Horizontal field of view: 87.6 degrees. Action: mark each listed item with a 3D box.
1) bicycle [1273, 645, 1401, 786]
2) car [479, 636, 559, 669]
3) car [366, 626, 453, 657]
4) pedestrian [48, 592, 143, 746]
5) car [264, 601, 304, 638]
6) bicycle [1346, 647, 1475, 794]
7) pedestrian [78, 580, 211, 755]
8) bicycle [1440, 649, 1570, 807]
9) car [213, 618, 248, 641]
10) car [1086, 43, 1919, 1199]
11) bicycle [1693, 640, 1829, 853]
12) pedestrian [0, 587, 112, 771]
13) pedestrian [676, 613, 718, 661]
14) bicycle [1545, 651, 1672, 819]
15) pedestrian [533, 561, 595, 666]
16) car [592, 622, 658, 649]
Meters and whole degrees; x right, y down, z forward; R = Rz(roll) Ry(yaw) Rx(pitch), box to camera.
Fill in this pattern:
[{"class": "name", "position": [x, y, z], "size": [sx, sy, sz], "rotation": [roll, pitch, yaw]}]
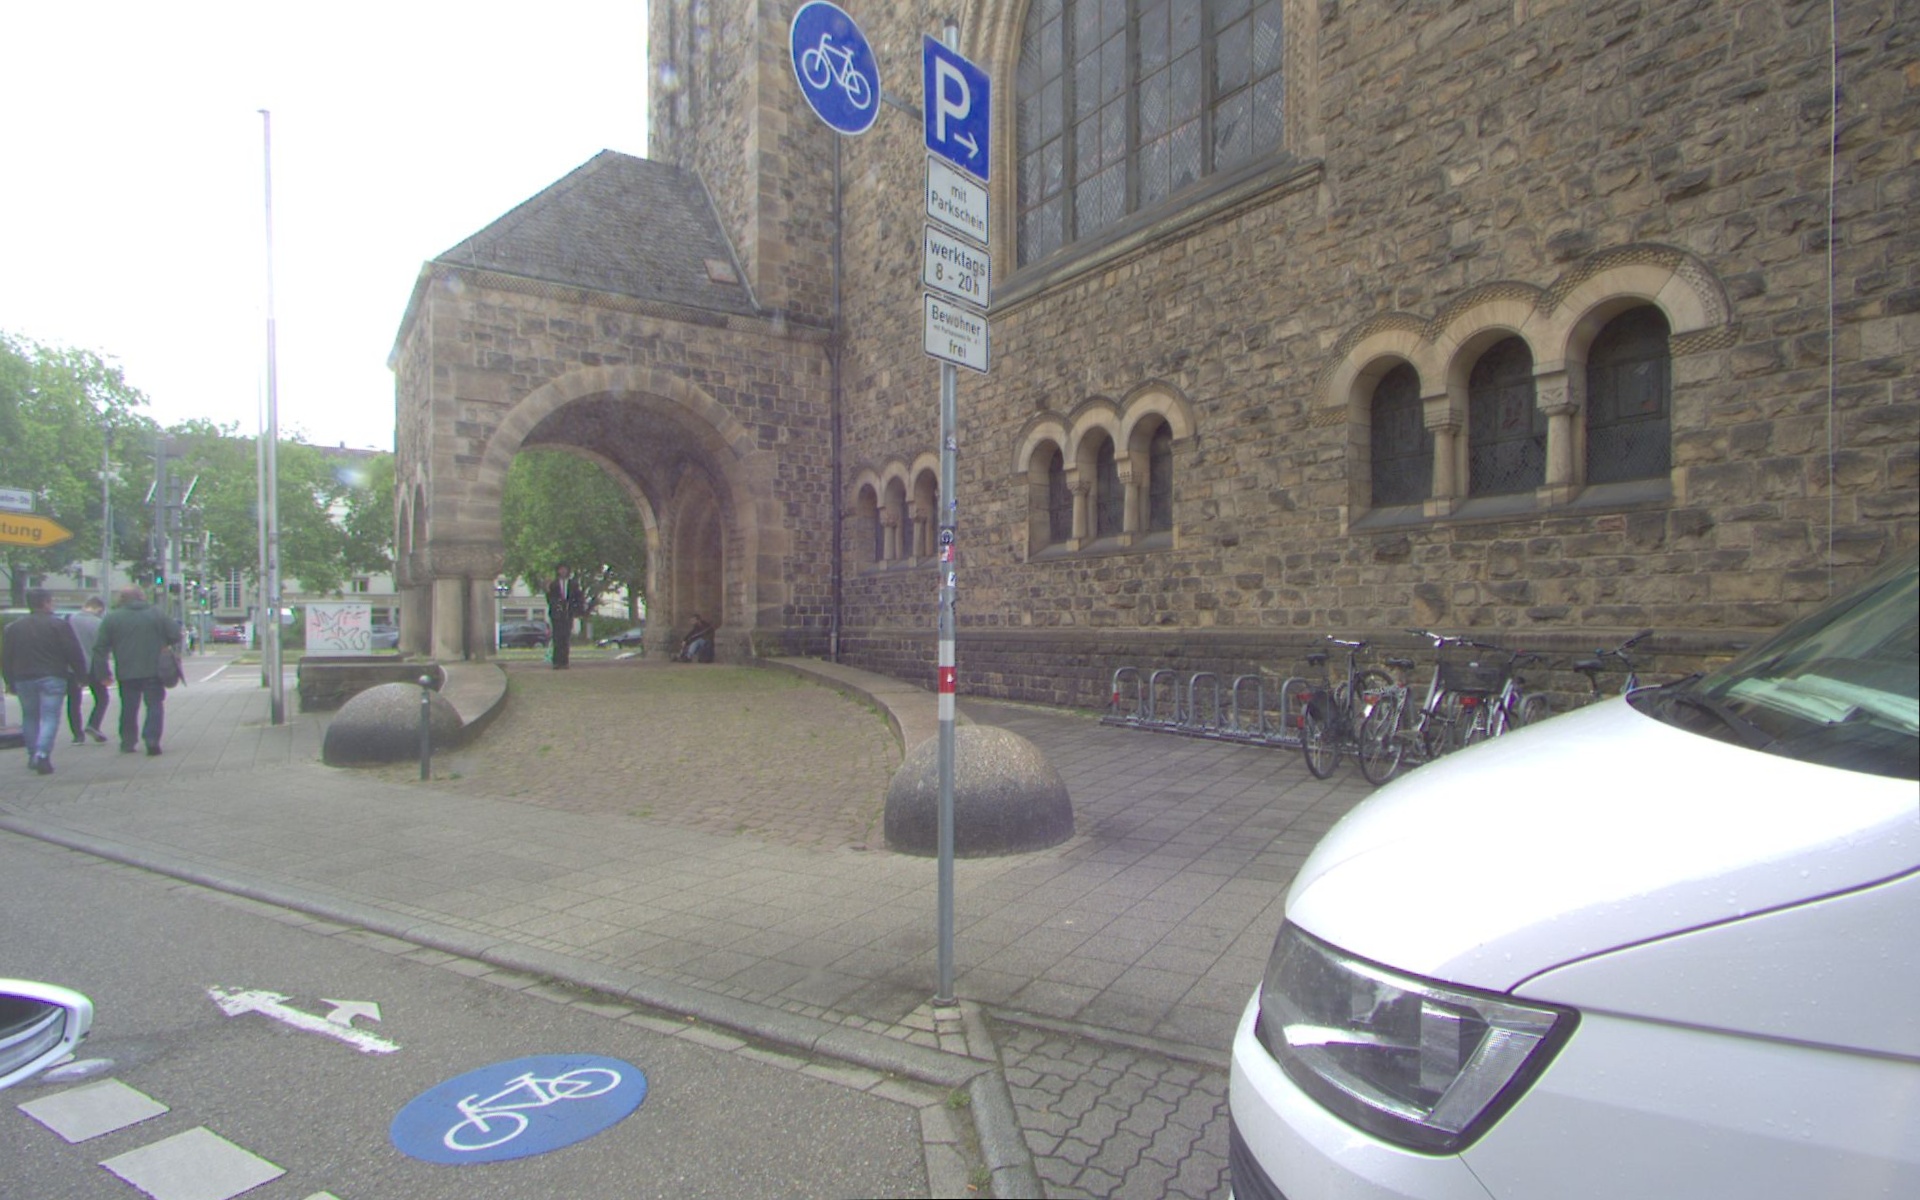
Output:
[{"class": "bicycle", "position": [3.172, 0.929, 8.367], "size": [1.366, 1.073, 0.309], "rotation": [1, -1, -36]}, {"class": "car", "position": [-24.924, 2.944, 56.592], "size": [3.899, 1.733, 1.676], "rotation": [1, -1, -35]}, {"class": "car", "position": [-29.246, 2.191, 53.249], "size": [3.939, 1.581, 1.676], "rotation": [1, -1, -35]}, {"class": "pedestrian", "position": [-10.043, 0.767, 11.631], "size": [0.957, 1.696, 0.630], "rotation": [0, 2, 39]}, {"class": "car", "position": [-50.570, 1.466, 75.017], "size": [2.211, 2.673, 5.417], "rotation": [1, -1, -31]}, {"class": "bicycle", "position": [3.610, 0.922, 7.986], "size": [1.366, 1.073, 0.309], "rotation": [1, -1, -36]}, {"class": "pedestrian", "position": [-8.782, 0.685, 10.792], "size": [0.955, 1.782, 0.802], "rotation": [0, 2, 32]}, {"class": "bicycle", "position": [4.084, 0.913, 7.472], "size": [1.366, 1.073, 0.309], "rotation": [1, -1, -36]}, {"class": "car", "position": [-51.404, 2.077, 70.583], "size": [1.647, 1.535, 3.916], "rotation": [1, -1, -31]}, {"class": "car", "position": [2.797, 0.468, 0.792], "size": [5.088, 1.945, 1.802], "rotation": [-1, -1, 31]}, {"class": "bicycle", "position": [4.862, 0.830, 6.055], "size": [1.327, 1.161, 0.309], "rotation": [1, -1, -36]}, {"class": "pedestrian", "position": [-8.945, 0.735, 9.812], "size": [0.955, 1.708, 0.673], "rotation": [0, 2, 32]}, {"class": "pedestrian", "position": [-5.403, 0.758, 20.592], "size": [0.665, 0.964, 0.611], "rotation": [0, -1, -36]}, {"class": "bicycle", "position": [4.601, 0.911, 7.077], "size": [1.327, 1.073, 0.309], "rotation": [1, -1, -36]}, {"class": "pedestrian", "position": [-7.138, 0.251, 18.048], "size": [0.806, 1.832, 1.012], "rotation": [0, 0, -37]}, {"class": "car", "position": [-19.981, 2.097, 59.771], "size": [3.423, 1.581, 1.676], "rotation": [1, -1, -35]}]
